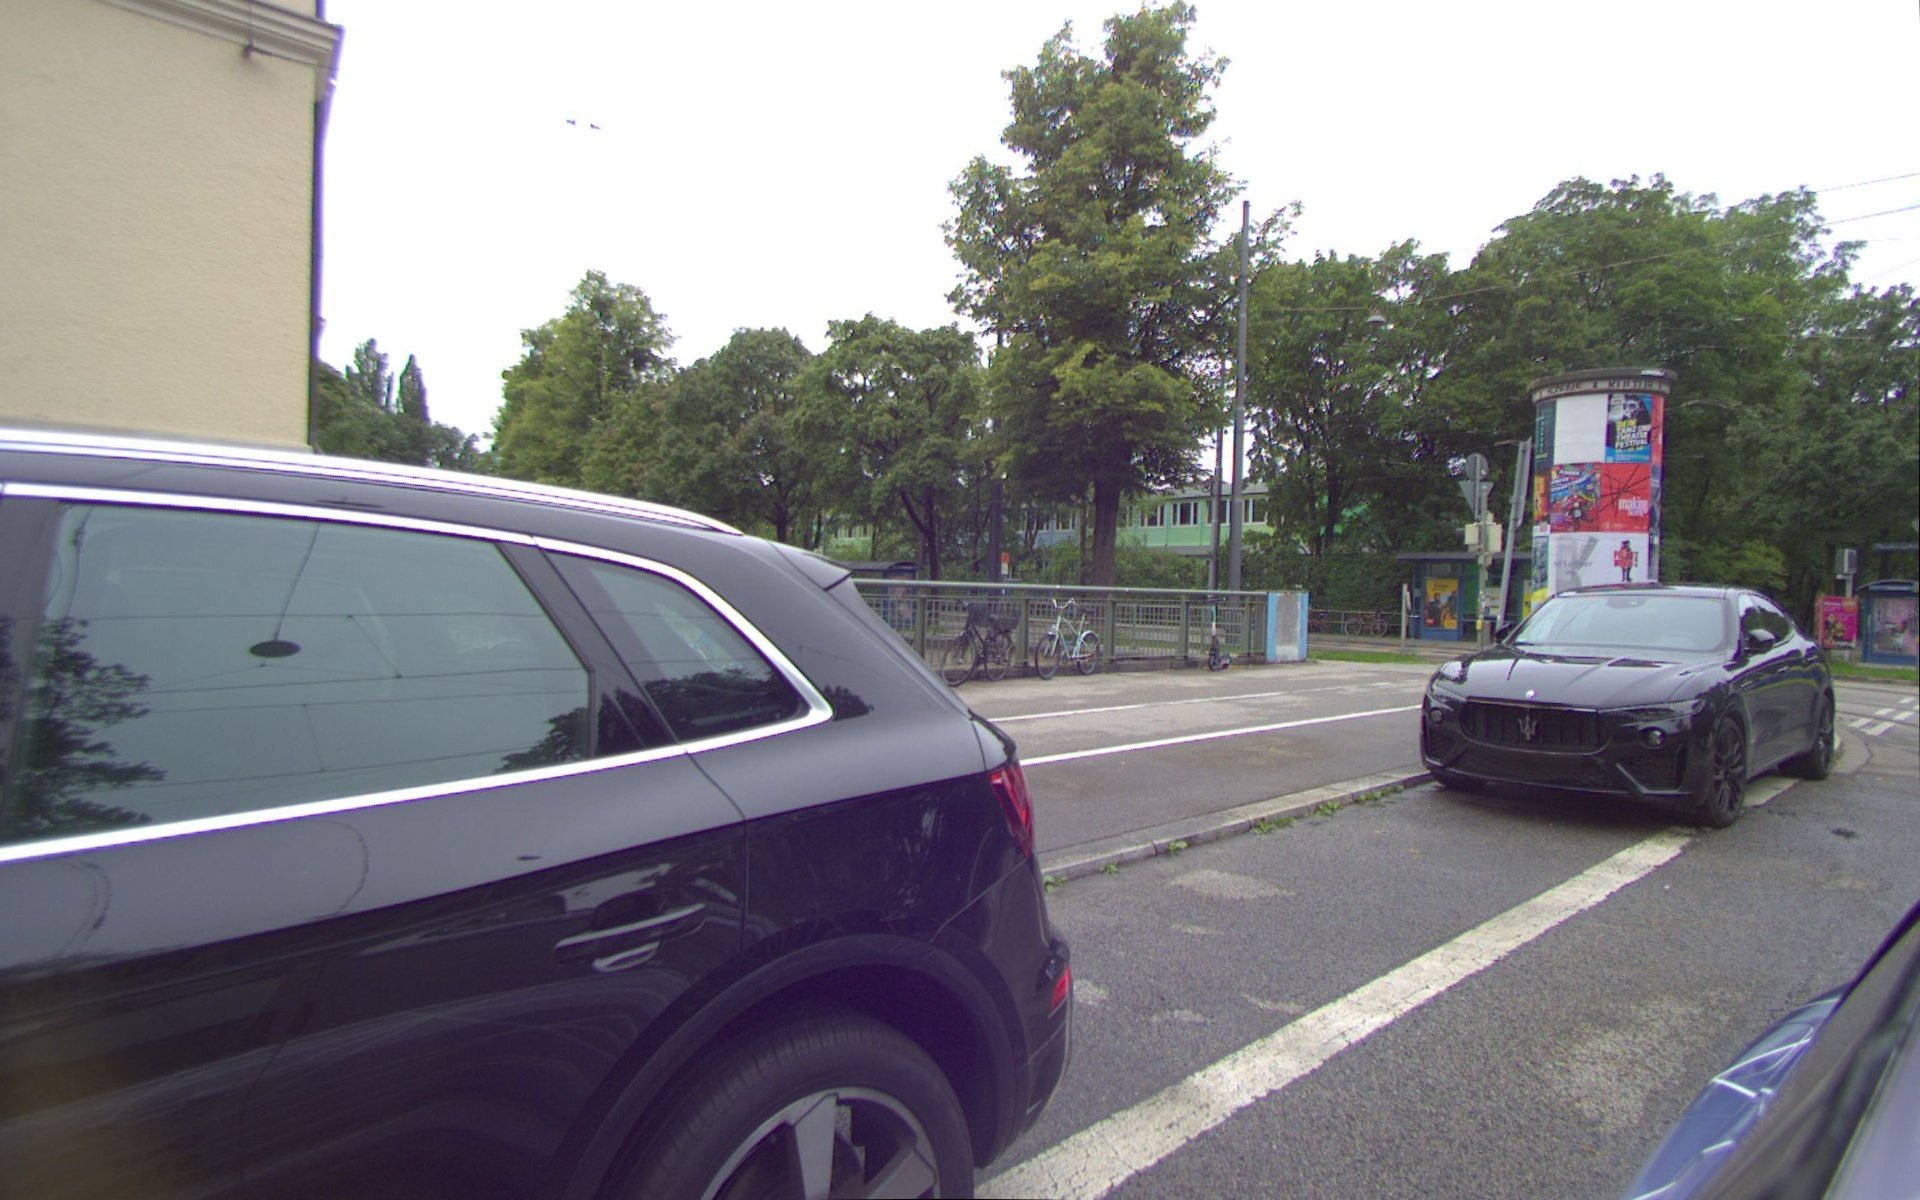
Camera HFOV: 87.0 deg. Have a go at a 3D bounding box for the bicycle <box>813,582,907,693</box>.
[{"bbox_3d":[-1.214,0.438,12.477,0.281,1.298,1.391,-1,-1,38],"label":"bicycle"}]

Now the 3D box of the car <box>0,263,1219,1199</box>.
[{"bbox_3d":[-1.662,0.506,1.530,4.408,1.679,1.778,0,0,-40],"label":"car"}]

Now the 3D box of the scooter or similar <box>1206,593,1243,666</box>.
[{"bbox_3d":[4.586,0.504,17.527,0.224,1.227,1.006,-1,-1,40],"label":"scooter or similar"}]

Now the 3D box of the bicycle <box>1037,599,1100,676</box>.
[{"bbox_3d":[1.634,0.532,15.047,0.263,1.096,1.524,-1,0,34],"label":"bicycle"}]

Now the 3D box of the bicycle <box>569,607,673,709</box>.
[{"bbox_3d":[-3.466,0.569,10.411,0.247,0.946,1.133,4,3,28],"label":"bicycle"}]

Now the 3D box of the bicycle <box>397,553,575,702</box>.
[{"bbox_3d":[-4.514,0.247,9.710,1.511,1.329,0.332,0,-1,-42],"label":"bicycle"}]

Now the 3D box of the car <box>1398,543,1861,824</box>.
[{"bbox_3d":[5.535,0.516,8.112,4.582,1.630,1.904,1,-1,-40],"label":"car"}]

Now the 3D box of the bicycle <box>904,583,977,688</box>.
[{"bbox_3d":[-0.238,0.434,13.166,0.280,1.298,1.395,0,-1,29],"label":"bicycle"}]

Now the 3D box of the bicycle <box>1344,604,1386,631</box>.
[{"bbox_3d":[15.186,0.632,38.000,0.366,0.964,1.483,0,1,-38],"label":"bicycle"}]

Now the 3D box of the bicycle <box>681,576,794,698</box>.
[{"bbox_3d":[-2.490,0.393,11.446,0.281,1.298,1.391,-1,-1,38],"label":"bicycle"}]

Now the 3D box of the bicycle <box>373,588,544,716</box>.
[{"bbox_3d":[-4.657,0.455,9.476,0.286,1.120,1.421,1,0,42],"label":"bicycle"}]

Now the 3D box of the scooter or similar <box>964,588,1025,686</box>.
[{"bbox_3d":[0.491,0.478,13.813,0.242,1.279,1.482,0,0,26],"label":"scooter or similar"}]

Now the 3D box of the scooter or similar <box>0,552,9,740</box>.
[{"bbox_3d":[-7.274,0.322,6.903,1.122,1.329,0.261,0,-1,-41],"label":"scooter or similar"}]

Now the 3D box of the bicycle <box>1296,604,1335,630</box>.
[{"bbox_3d":[13.956,0.646,39.800,0.366,0.964,1.483,0,1,-38],"label":"bicycle"}]
